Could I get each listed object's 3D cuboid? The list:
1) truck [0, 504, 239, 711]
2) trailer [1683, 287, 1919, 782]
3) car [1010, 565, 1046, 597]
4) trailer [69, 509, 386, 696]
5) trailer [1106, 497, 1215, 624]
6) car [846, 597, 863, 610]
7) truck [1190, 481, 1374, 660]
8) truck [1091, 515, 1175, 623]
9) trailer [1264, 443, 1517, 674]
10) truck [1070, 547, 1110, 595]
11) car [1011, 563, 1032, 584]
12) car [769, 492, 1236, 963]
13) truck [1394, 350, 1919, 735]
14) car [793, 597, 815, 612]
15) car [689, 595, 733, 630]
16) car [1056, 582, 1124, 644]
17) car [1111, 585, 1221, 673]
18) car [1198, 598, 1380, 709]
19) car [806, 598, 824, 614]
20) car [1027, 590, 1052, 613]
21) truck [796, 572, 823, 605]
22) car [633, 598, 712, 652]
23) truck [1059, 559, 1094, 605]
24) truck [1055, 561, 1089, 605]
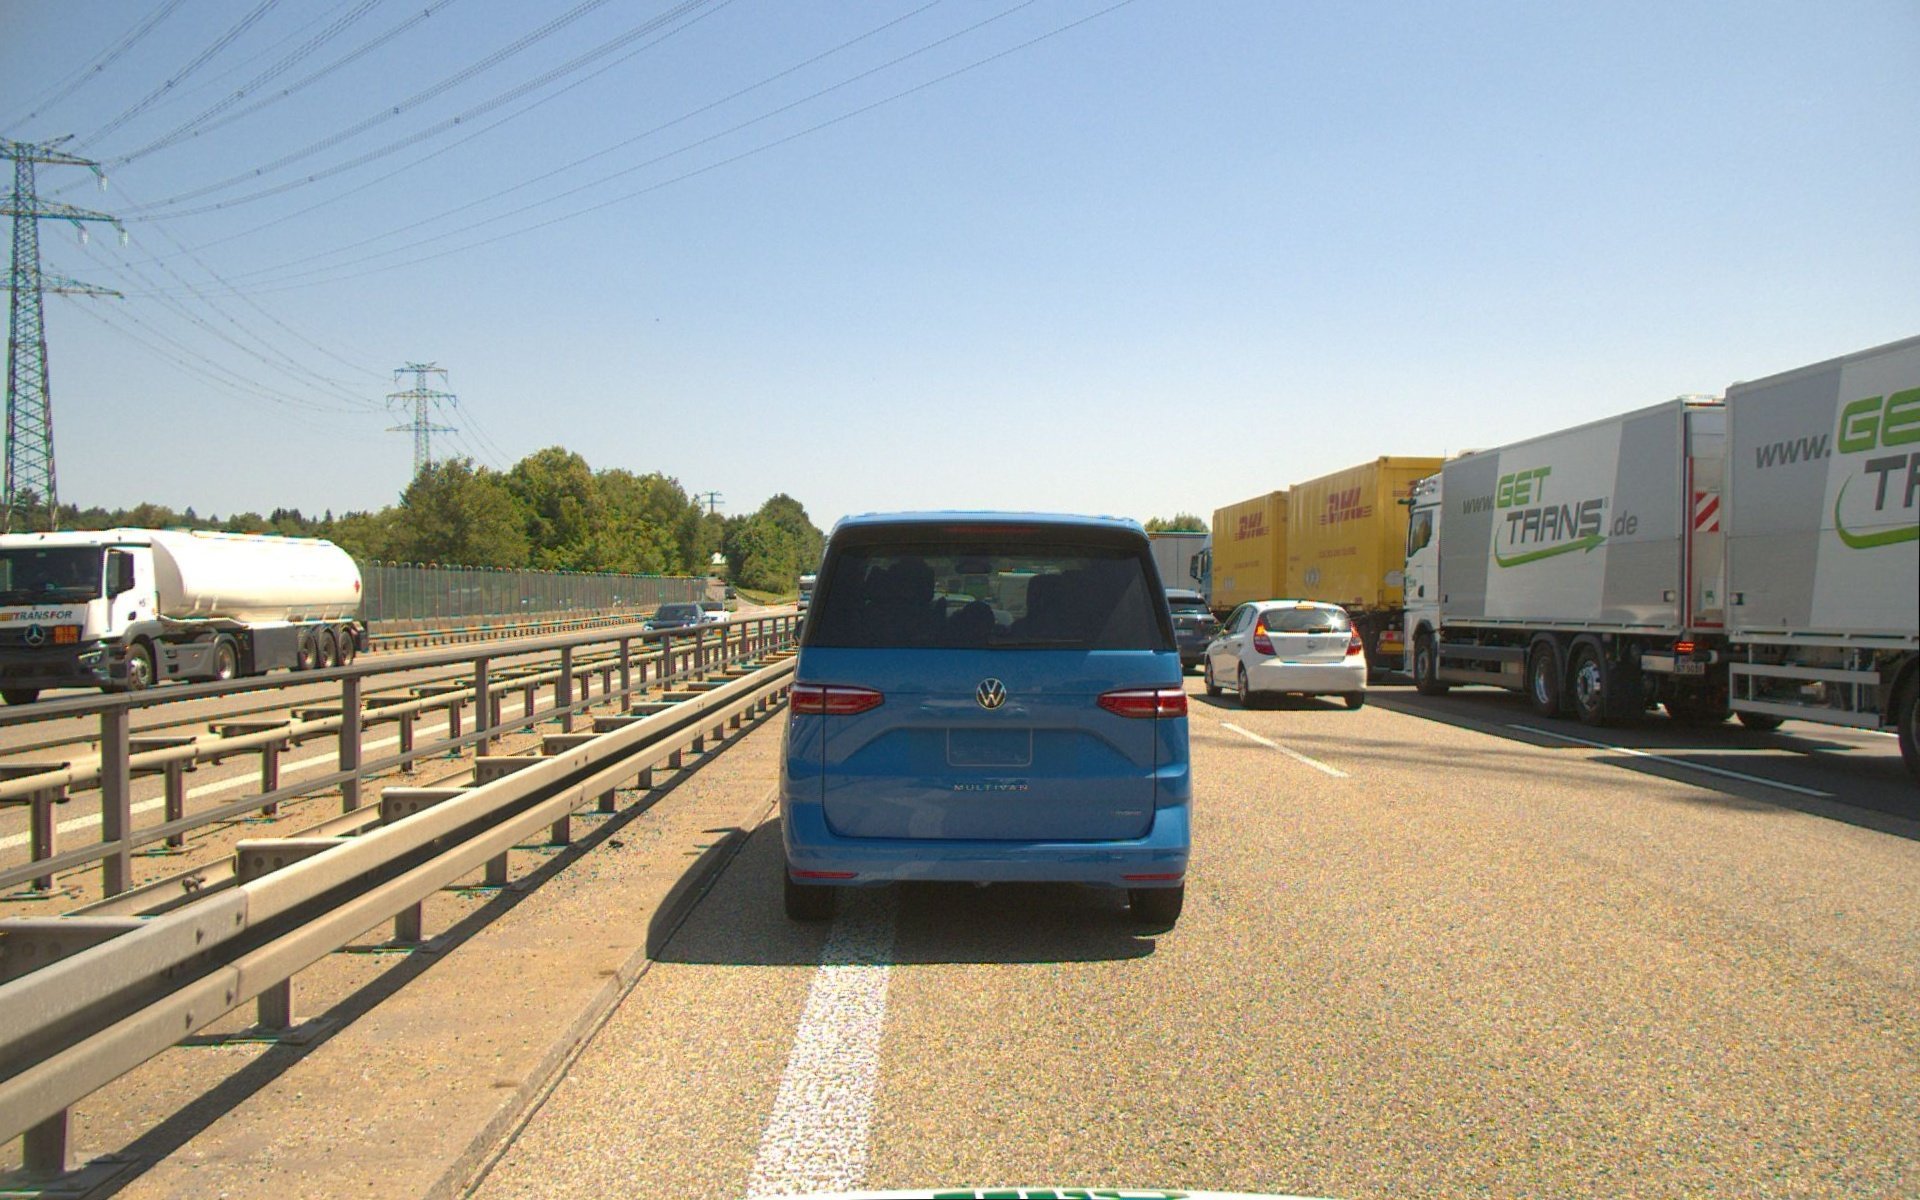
[{"bbox_3d":[-16.289,0.169,31.801,2.469,3.597,5.329,-2,-1,0],"label":"truck"},{"bbox_3d":[9.088,-0.503,13.272,2.840,3.959,8.212,1,-1,-1],"label":"trailer"},{"bbox_3d":[3.973,-1.105,97.633,1.880,1.736,3.999,1,-1,-1],"label":"car"},{"bbox_3d":[-16.303,0.091,37.999,2.447,3.602,10.902,-1,-1,0],"label":"trailer"},{"bbox_3d":[7.971,-1.418,67.174,2.964,4.692,10.923,1,-1,0],"label":"trailer"},{"bbox_3d":[-13.340,0.457,209.948,1.834,1.556,3.607,-5,0,-1],"label":"car"},{"bbox_3d":[8.296,-0.656,44.006,2.645,4.159,9.936,1,-1,-2],"label":"truck"},{"bbox_3d":[7.917,-1.328,76.599,2.964,4.692,7.920,1,-1,0],"label":"truck"},{"bbox_3d":[8.648,-0.719,34.554,2.628,4.159,8.976,1,-1,-2],"label":"trailer"},{"bbox_3d":[7.069,-1.550,90.446,1.761,2.492,4.503,1,-1,0],"label":"truck"},{"bbox_3d":[5.536,-2.369,149.649,1.760,1.782,3.942,1,-1,0],"label":"car"},{"bbox_3d":[0.156,0.542,8.801,1.891,1.906,3.999,1,-1,-1],"label":"car"},{"bbox_3d":[8.864,-0.557,22.717,2.794,4.003,10.607,1,-1,-1],"label":"truck"},{"bbox_3d":[-15.719,0.433,167.112,1.834,1.467,4.384,-2,0,-1],"label":"car"},{"bbox_3d":[-12.873,0.653,85.660,1.770,1.668,3.998,-2,0,-2],"label":"car"},{"bbox_3d":[4.350,0.438,55.945,1.922,1.970,3.931,1,-1,-1],"label":"car"},{"bbox_3d":[4.238,0.594,34.545,1.778,1.708,3.932,1,-1,0],"label":"car"},{"bbox_3d":[4.786,0.747,24.585,1.779,1.496,3.930,1,-1,-2],"label":"car"},{"bbox_3d":[-17.394,0.689,198.072,1.802,1.854,4.746,-1,-1,-1],"label":"car"},{"bbox_3d":[6.470,0.124,134.547,1.760,1.782,3.942,1,-1,0],"label":"car"},{"bbox_3d":[-21.083,-1.589,231.561,2.869,4.368,6.857,-3,-1,0],"label":"truck"},{"bbox_3d":[-8.970,0.763,51.858,1.844,1.579,4.188,1,-1,-2],"label":"car"},{"bbox_3d":[6.982,-1.053,99.372,1.706,2.593,4.209,1,-1,0],"label":"truck"},{"bbox_3d":[7.065,-1.039,104.494,1.760,2.641,4.305,1,-1,0],"label":"truck"}]
